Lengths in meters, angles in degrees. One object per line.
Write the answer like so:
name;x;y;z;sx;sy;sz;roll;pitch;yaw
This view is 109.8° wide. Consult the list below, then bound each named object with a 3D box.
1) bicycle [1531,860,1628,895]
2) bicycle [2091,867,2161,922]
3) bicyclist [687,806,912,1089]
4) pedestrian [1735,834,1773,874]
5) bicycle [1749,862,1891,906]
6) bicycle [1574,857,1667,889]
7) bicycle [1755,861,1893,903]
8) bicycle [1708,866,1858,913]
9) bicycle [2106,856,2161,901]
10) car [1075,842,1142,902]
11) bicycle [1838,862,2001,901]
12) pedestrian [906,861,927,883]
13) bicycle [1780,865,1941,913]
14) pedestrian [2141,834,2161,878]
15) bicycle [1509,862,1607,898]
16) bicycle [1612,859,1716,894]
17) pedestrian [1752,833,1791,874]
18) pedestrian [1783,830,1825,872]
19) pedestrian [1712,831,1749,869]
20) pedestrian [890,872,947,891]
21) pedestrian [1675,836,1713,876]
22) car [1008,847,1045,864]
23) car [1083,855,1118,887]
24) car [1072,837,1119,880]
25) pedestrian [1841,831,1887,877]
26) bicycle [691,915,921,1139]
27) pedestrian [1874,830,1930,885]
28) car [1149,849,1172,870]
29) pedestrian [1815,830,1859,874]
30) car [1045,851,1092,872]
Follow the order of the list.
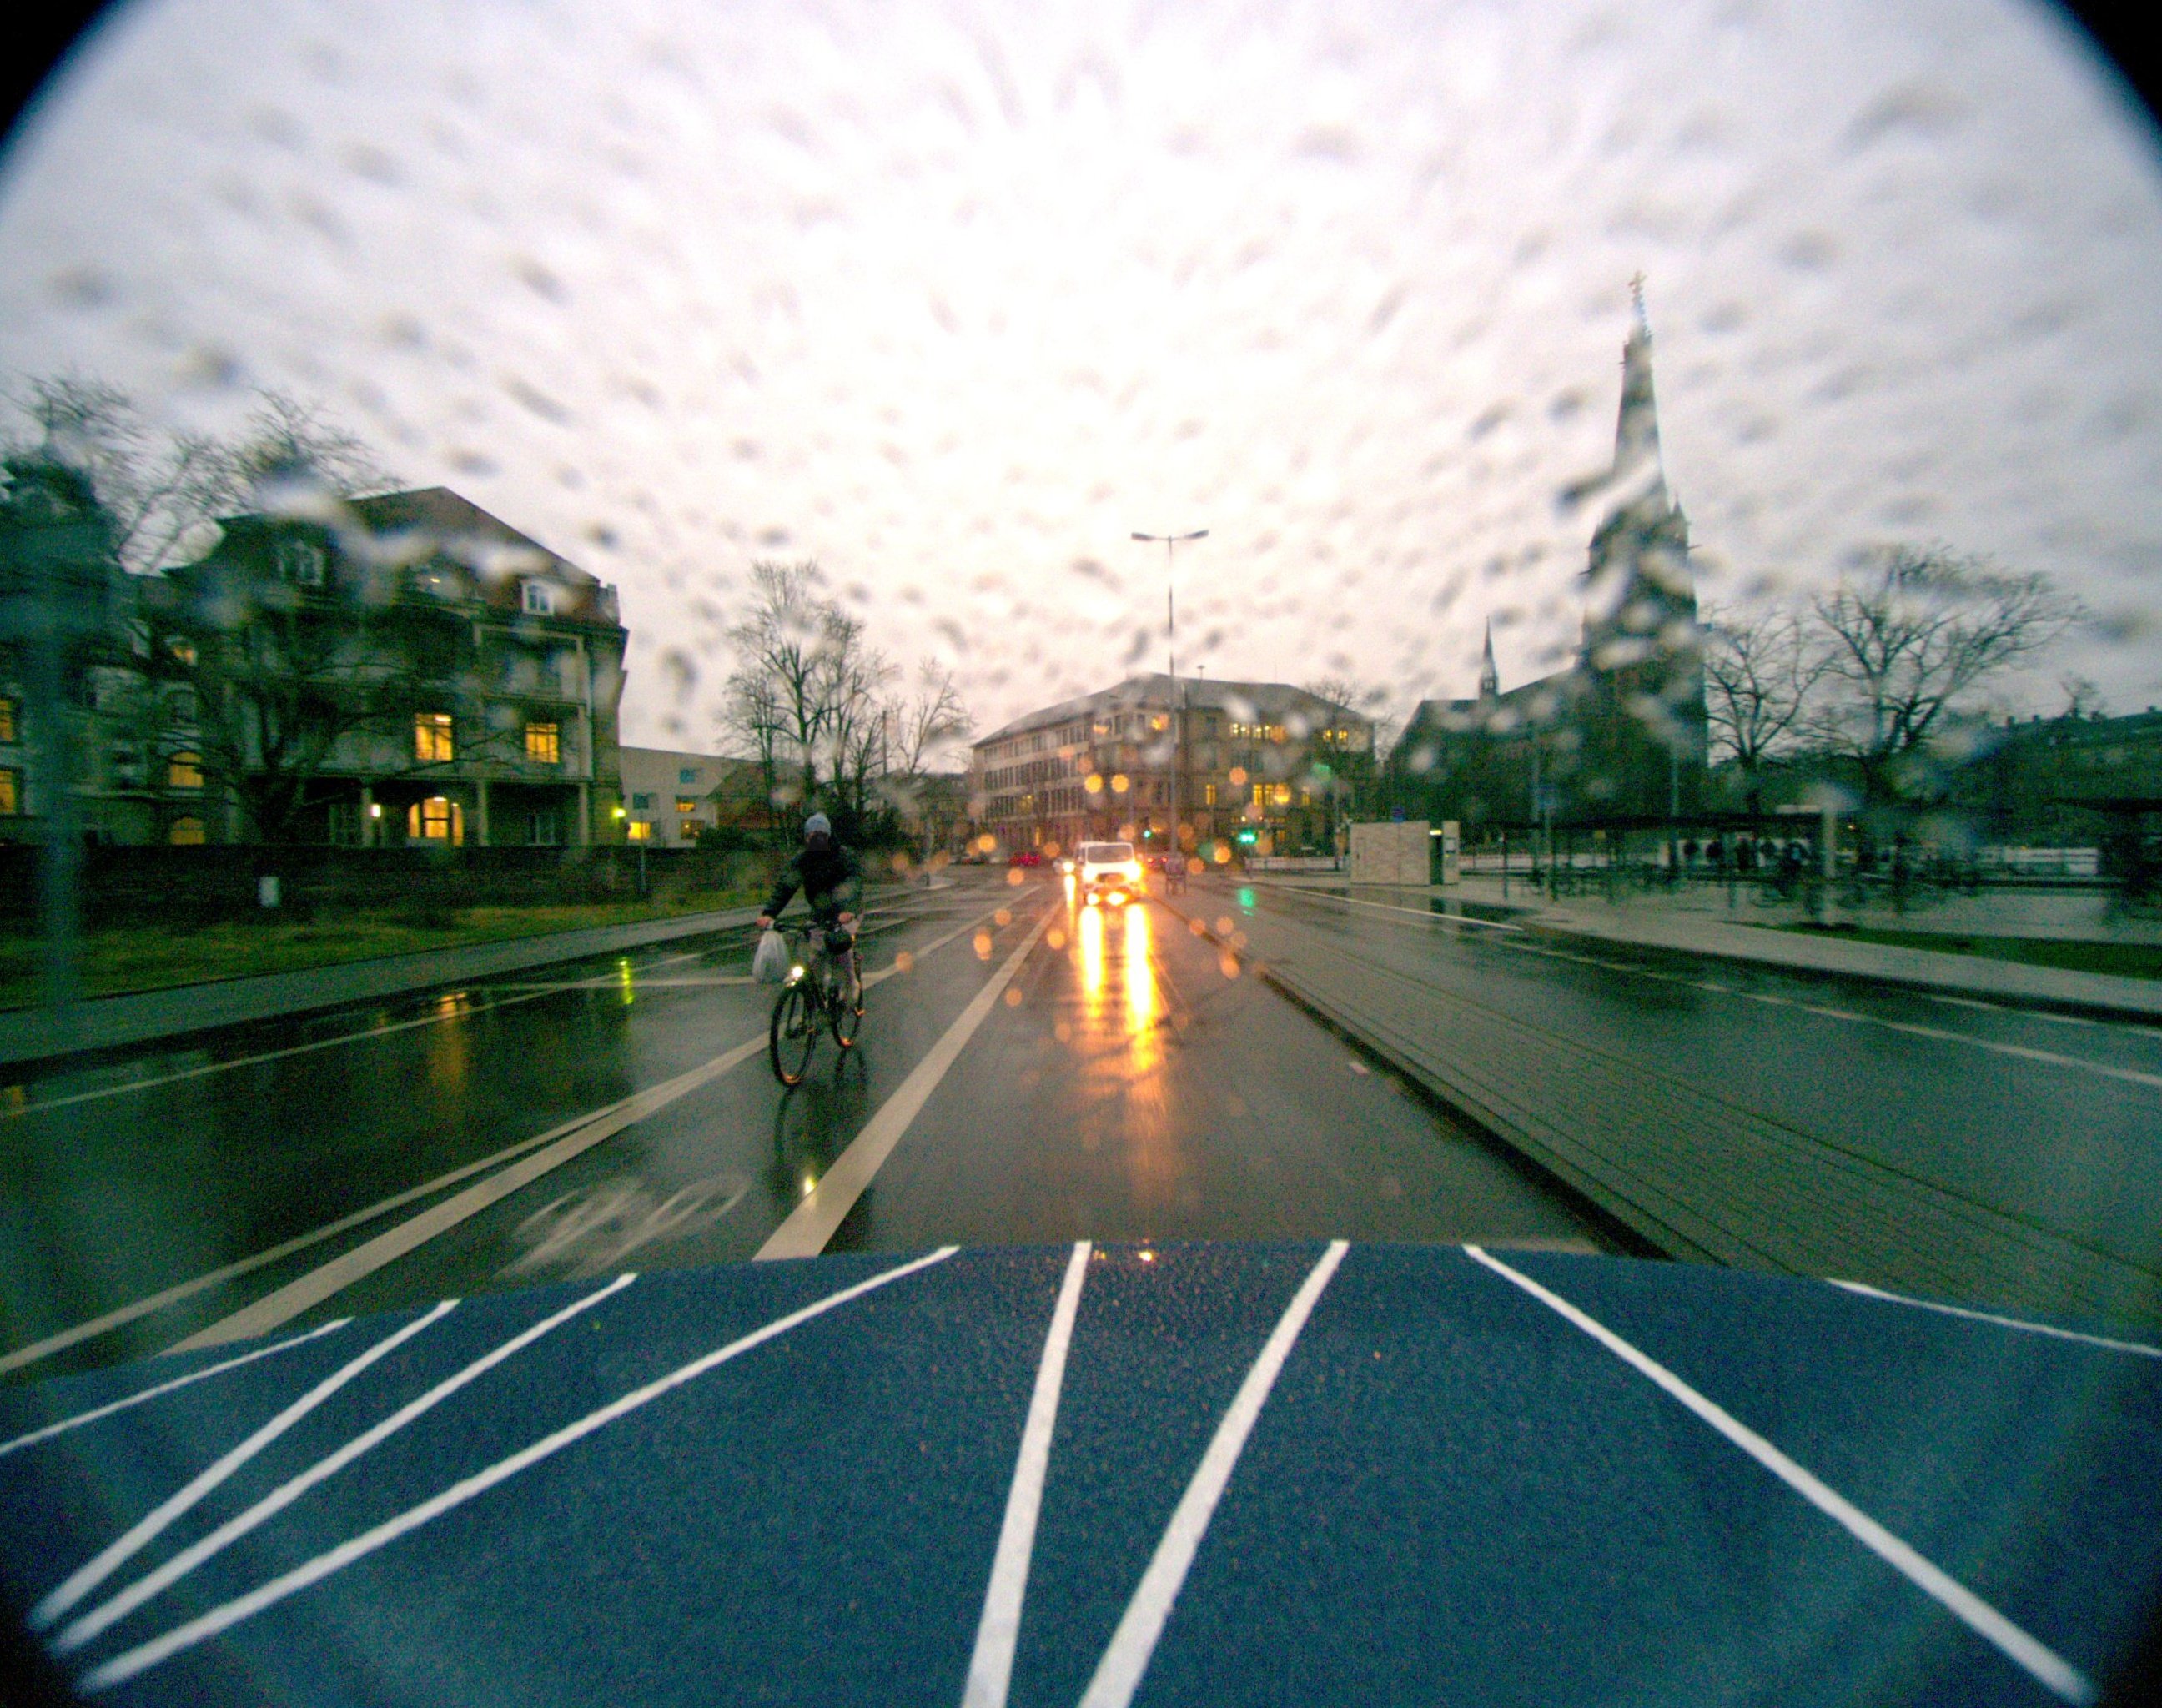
bicycle;16.928;0.788;25.904;0.648;1.098;2.745;-4;0;-30
bicycle;22.754;0.840;15.403;0.609;1.098;2.743;-4;2;-37
bicyclist;-2.027;0.605;5.695;1.025;1.873;1.236;-1;2;10
pedestrian;31.649;0.000;35.747;1.034;1.839;0.848;0;1;1
bicycle;20.407;0.830;21.062;0.648;1.098;2.744;-4;1;-40
bicycle;19.977;0.713;28.212;0.648;1.098;2.744;-4;1;-33
bicycle;21.012;0.759;21.555;0.648;1.098;2.743;-4;2;-39
bicycle;18.050;0.897;19.640;0.648;1.098;2.745;-4;0;-30
bicycle;27.863;0.611;18.892;0.648;1.098;2.745;-4;0;-30
car;0.968;0.587;27.595;2.136;1.910;5.017;-3;0;1
bicycle;24.904;0.793;22.670;0.796;1.043;3.186;-1;1;-35
pedestrian;-9.761;1.065;45.103;0.984;1.309;0.813;0;1;-29
bicycle;19.687;0.868;19.298;0.648;1.098;2.745;-4;0;-30
pedestrian;45.080;0.070;31.567;0.947;1.820;0.808;0;1;1
bicycle;15.856;0.848;25.379;0.648;1.098;2.745;-4;0;-30
bicycle;19.912;0.755;26.036;0.648;1.098;2.745;-4;0;-30
pedestrian;31.670;-0.030;34.857;1.034;1.839;0.802;0;1;1
pedestrian;32.897;-0.151;34.582;1.034;1.839;0.848;-3;1;1
pedestrian;31.307;-0.194;36.652;1.034;1.839;0.848;0;1;1
pedestrian;-9.645;1.618;45.135;3.104;0.925;0.946;-3;1;-29
pedestrian;29.893;0.095;37.060;1.049;1.839;0.848;-5;0;1
car;-6.546;0.139;90.513;2.146;1.999;4.558;-1;0;-39
car;1.050;0.896;41.501;1.754;1.495;4.317;-3;1;1
car;0.856;0.281;49.178;2.347;2.503;5.865;-3;1;-5
pedestrian;33.228;-0.001;32.264;1.034;1.839;0.848;-3;1;1
bicycle;-1.982;1.193;5.862;0.793;1.216;1.905;-1;2;9
pedestrian;26.151;0.092;24.217;0.815;1.672;0.848;-5;3;1
car;6.562;0.439;63.223;1.677;1.586;4.001;-1;0;3
pedestrian;33.136;-0.093;33.309;1.034;1.839;0.848;-3;1;1
car;-1.042;0.619;61.533;1.792;1.536;4.109;-2;0;-33
